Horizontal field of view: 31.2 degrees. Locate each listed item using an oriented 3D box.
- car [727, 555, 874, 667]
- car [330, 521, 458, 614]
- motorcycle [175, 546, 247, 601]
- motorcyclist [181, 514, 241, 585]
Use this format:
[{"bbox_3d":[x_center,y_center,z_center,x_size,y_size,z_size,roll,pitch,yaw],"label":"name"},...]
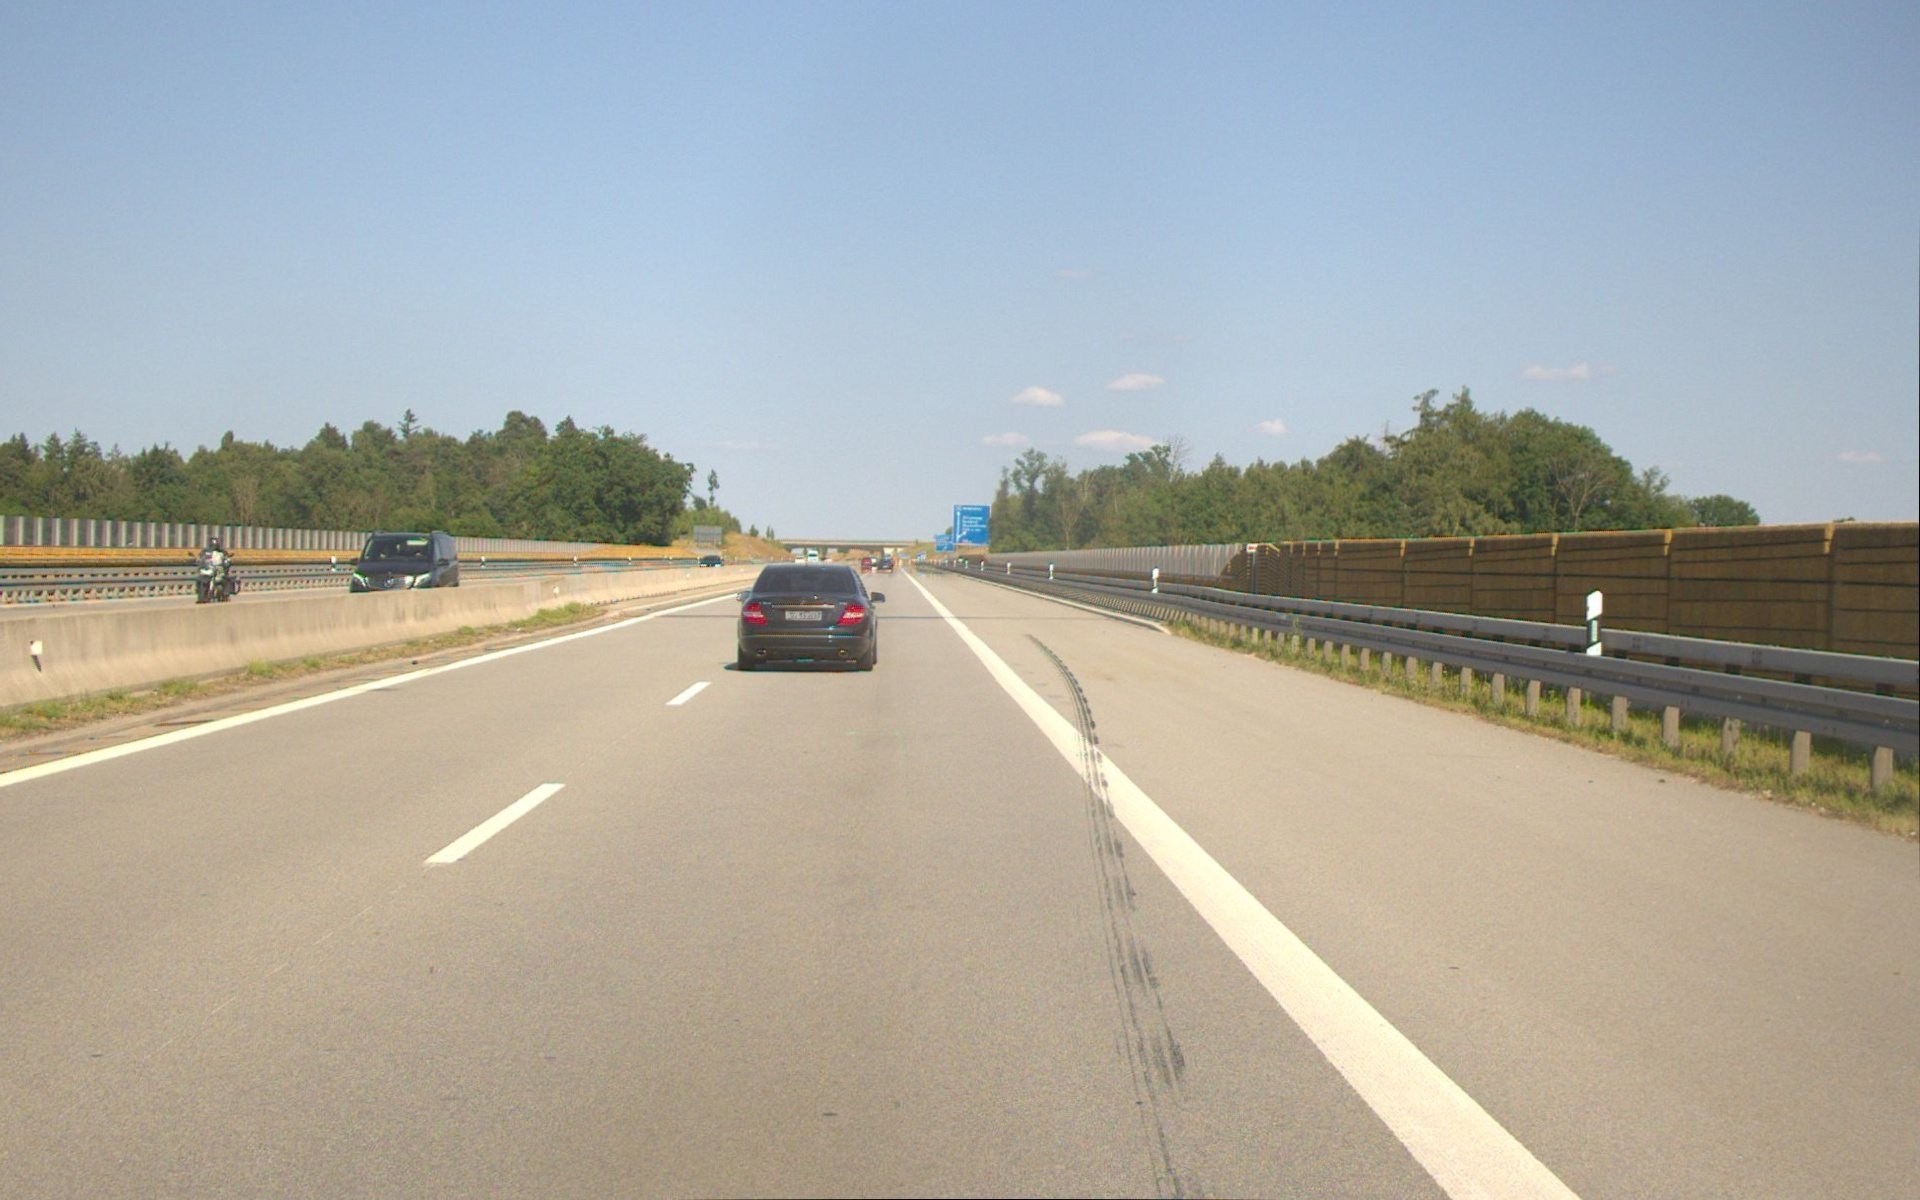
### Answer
[{"bbox_3d":[-2.059,0.113,45.356,1.790,1.369,3.917,1,1,-1],"label":"car"},{"bbox_3d":[-12.720,-0.734,77.583,1.993,2.007,5.738,1,1,-1],"label":"car"},{"bbox_3d":[-16.584,-0.600,76.218,1.013,1.163,2.868,1,1,-1],"label":"motorcycle"},{"bbox_3d":[-16.582,-1.115,76.154,1.012,1.558,1.428,1,0,-1],"label":"motorcyclist"}]
